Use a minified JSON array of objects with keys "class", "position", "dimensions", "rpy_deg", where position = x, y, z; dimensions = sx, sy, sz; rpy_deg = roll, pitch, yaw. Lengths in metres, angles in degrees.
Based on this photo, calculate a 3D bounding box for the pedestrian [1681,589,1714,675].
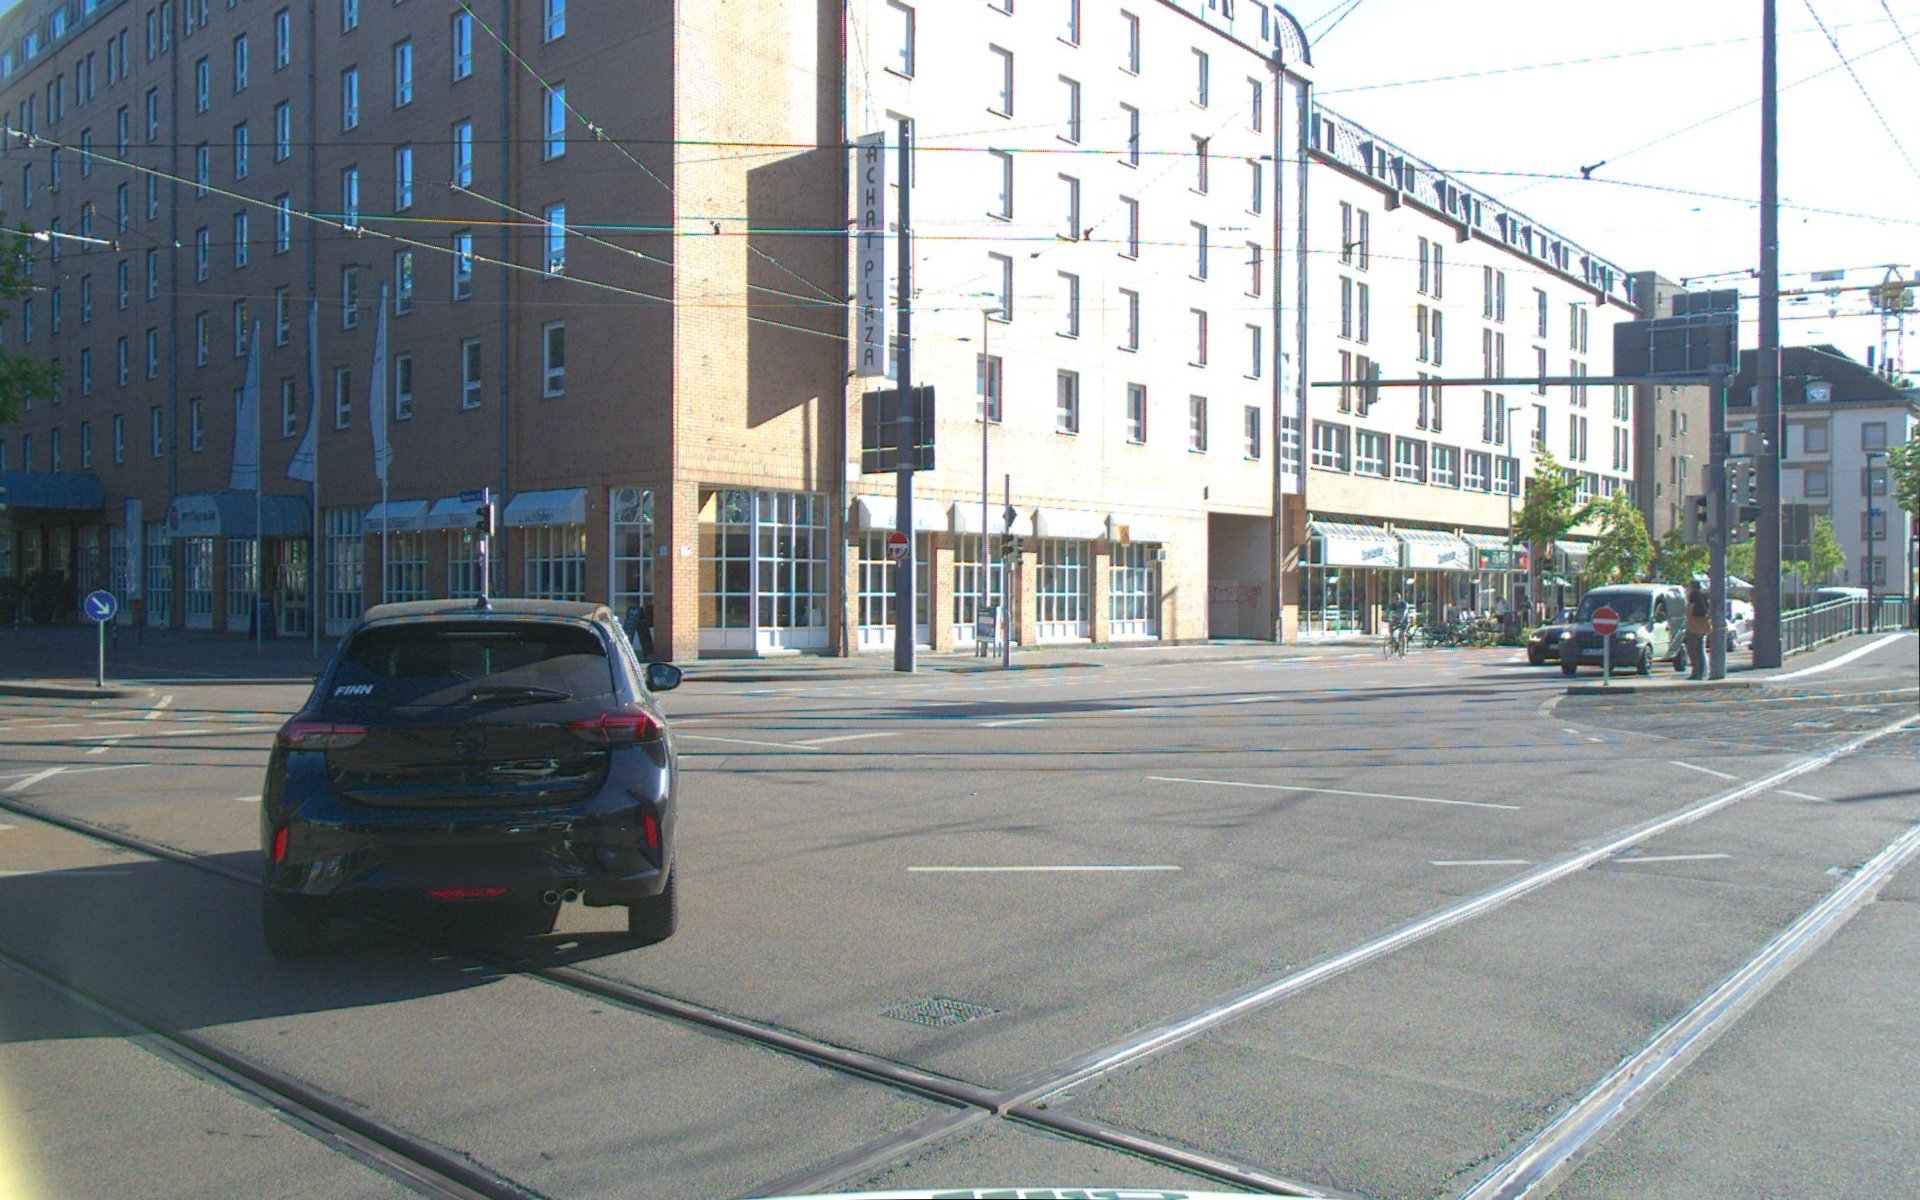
[{"class":"pedestrian","position":[13.939,0.598,31.255],"dimensions":[0.569,1.604,0.646],"rpy_deg":[0,0,25]}]

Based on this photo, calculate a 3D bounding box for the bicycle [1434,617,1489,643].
[{"class":"bicycle","position":[18.292,1.096,60.366],"dimensions":[0.478,0.937,2.010],"rpy_deg":[0,0,-41]}]

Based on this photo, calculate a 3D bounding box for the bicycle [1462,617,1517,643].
[{"class":"bicycle","position":[19.510,1.110,60.970],"dimensions":[0.478,0.937,2.010],"rpy_deg":[0,0,-41]}]

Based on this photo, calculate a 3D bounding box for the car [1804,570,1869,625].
[{"class":"car","position":[51.188,-0.230,96.449],"dimensions":[2.336,3.051,8.441],"rpy_deg":[0,1,35]}]

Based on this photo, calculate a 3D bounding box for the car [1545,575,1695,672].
[{"class":"car","position":[13.679,0.481,34.160],"dimensions":[1.809,1.868,4.089],"rpy_deg":[-2,-1,38]}]

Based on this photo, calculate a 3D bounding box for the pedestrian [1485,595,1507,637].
[{"class":"pedestrian","position":[22.802,0.677,70.345],"dimensions":[0.706,1.795,0.562],"rpy_deg":[-1,-1,41]}]

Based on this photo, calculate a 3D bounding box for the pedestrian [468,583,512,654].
[{"class":"pedestrian","position":[-11.232,0.431,39.555],"dimensions":[0.740,1.695,0.737],"rpy_deg":[0,1,42]}]

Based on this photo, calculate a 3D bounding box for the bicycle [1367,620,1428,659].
[{"class":"bicycle","position":[12.304,1.091,46.460],"dimensions":[0.796,1.008,2.499],"rpy_deg":[0,0,36]}]

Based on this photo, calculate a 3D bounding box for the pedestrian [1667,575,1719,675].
[{"class":"pedestrian","position":[13.040,0.441,29.421],"dimensions":[0.710,1.757,0.591],"rpy_deg":[0,0,40]}]

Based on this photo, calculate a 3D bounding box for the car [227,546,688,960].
[{"class":"car","position":[-2.177,0.608,8.067],"dimensions":[1.641,1.528,3.682],"rpy_deg":[0,-2,-9]}]

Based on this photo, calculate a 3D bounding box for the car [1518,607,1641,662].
[{"class":"car","position":[15.575,0.850,41.466],"dimensions":[1.808,1.291,4.213],"rpy_deg":[-2,-1,36]}]

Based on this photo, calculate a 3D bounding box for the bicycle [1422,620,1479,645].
[{"class":"bicycle","position":[17.577,1.167,59.318],"dimensions":[0.478,0.860,2.010],"rpy_deg":[0,0,-41]}]

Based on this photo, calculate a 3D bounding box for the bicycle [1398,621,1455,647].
[{"class":"bicycle","position":[16.370,1.186,58.114],"dimensions":[0.478,0.860,2.010],"rpy_deg":[0,0,-41]}]

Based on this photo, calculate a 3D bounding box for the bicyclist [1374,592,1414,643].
[{"class":"bicyclist","position":[12.136,0.487,46.239],"dimensions":[0.796,1.401,0.922],"rpy_deg":[0,0,37]}]

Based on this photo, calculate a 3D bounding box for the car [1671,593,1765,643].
[{"class":"car","position":[23.684,0.548,51.600],"dimensions":[1.808,1.474,4.281],"rpy_deg":[-2,-1,37]}]
